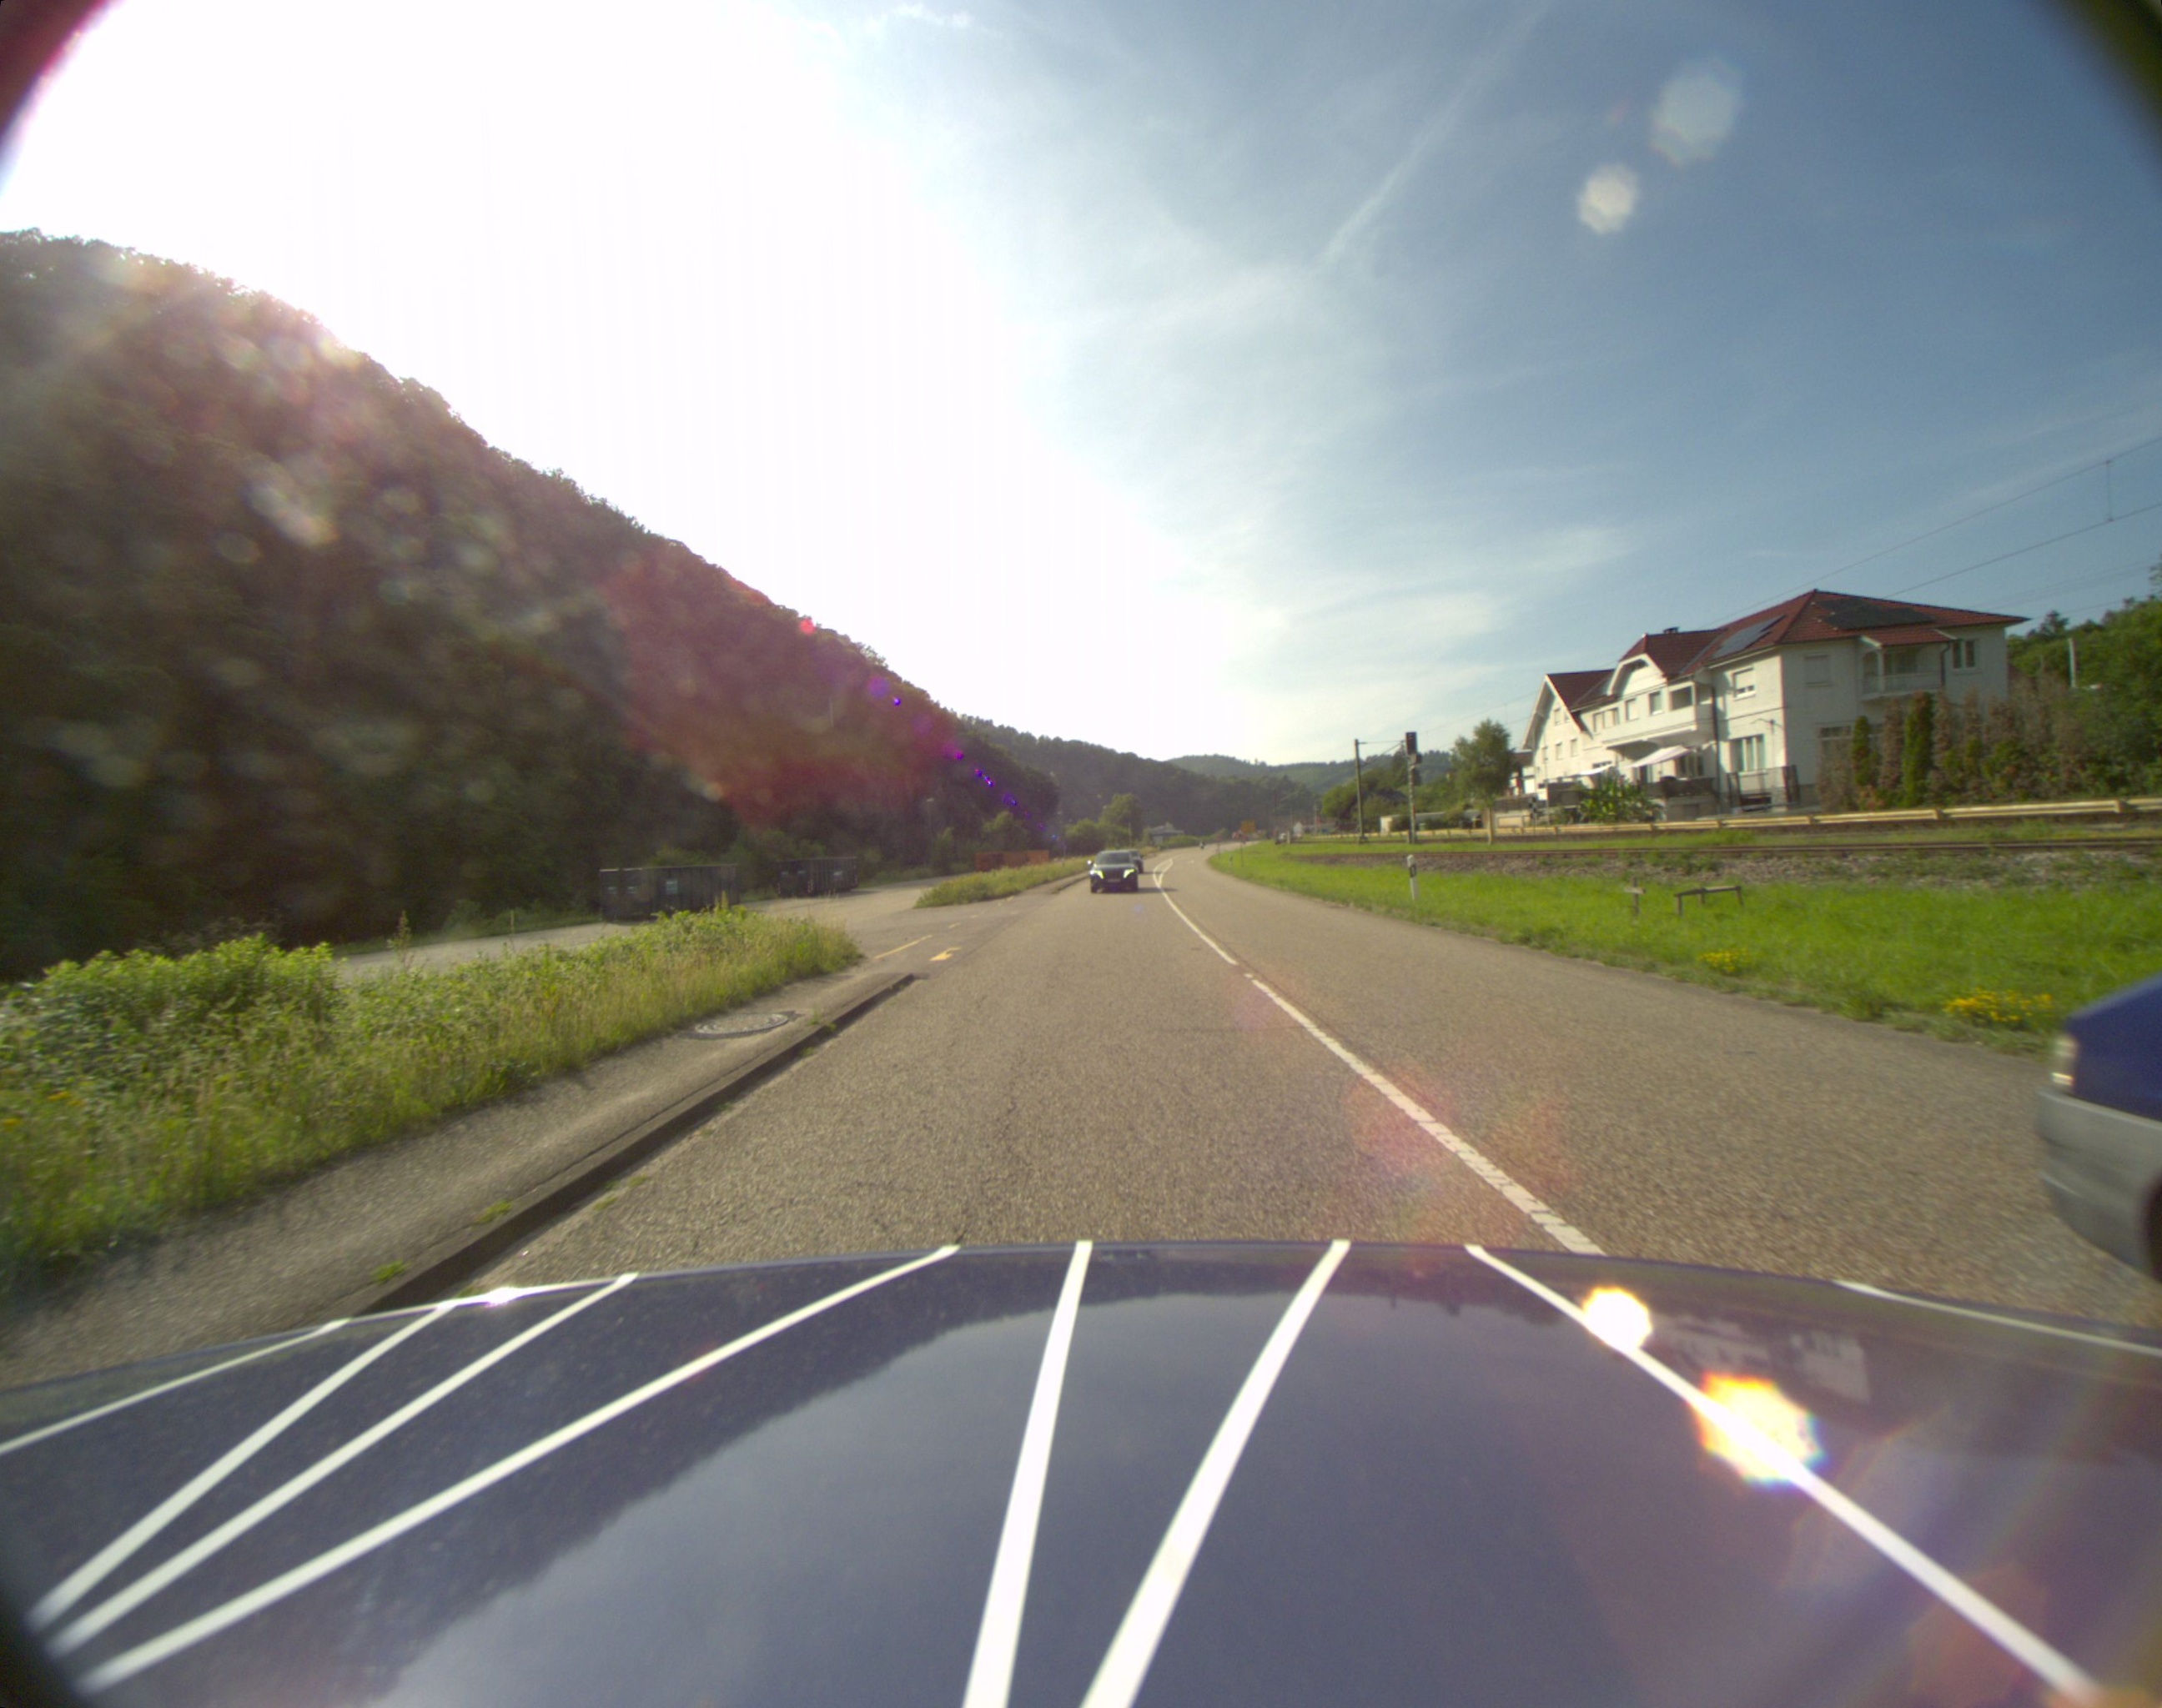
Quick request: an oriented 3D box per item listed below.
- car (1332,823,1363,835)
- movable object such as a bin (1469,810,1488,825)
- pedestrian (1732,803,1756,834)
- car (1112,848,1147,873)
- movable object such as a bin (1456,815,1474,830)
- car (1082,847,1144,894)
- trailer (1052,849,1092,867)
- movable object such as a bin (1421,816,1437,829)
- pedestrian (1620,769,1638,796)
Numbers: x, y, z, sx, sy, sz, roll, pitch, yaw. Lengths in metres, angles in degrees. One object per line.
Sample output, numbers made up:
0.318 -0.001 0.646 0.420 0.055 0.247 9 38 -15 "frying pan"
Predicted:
70.042 -6.638 199.978 7.070 2.442 2.953 -5 0 30 "car"
35.706 -3.260 68.267 1.092 1.185 1.143 -4 1 8 "movable object such as a bin"
35.490 -1.886 40.656 0.677 1.607 0.608 -4 1 6 "pedestrian"
3.419 0.421 52.675 1.918 1.455 4.002 -5 0 9 "car"
34.578 -2.822 68.422 1.092 1.185 1.143 -4 1 8 "movable object such as a bin"
1.423 0.608 31.476 1.997 1.661 5.513 -3 0 7 "car"
-0.868 0.355 84.434 2.797 1.466 9.892 -6 0 9 "trailer"
36.486 -3.323 79.770 1.142 1.185 1.093 -4 1 2 "movable object such as a bin"
35.574 -4.636 49.320 0.608 1.607 0.677 -4 1 1 "pedestrian"
